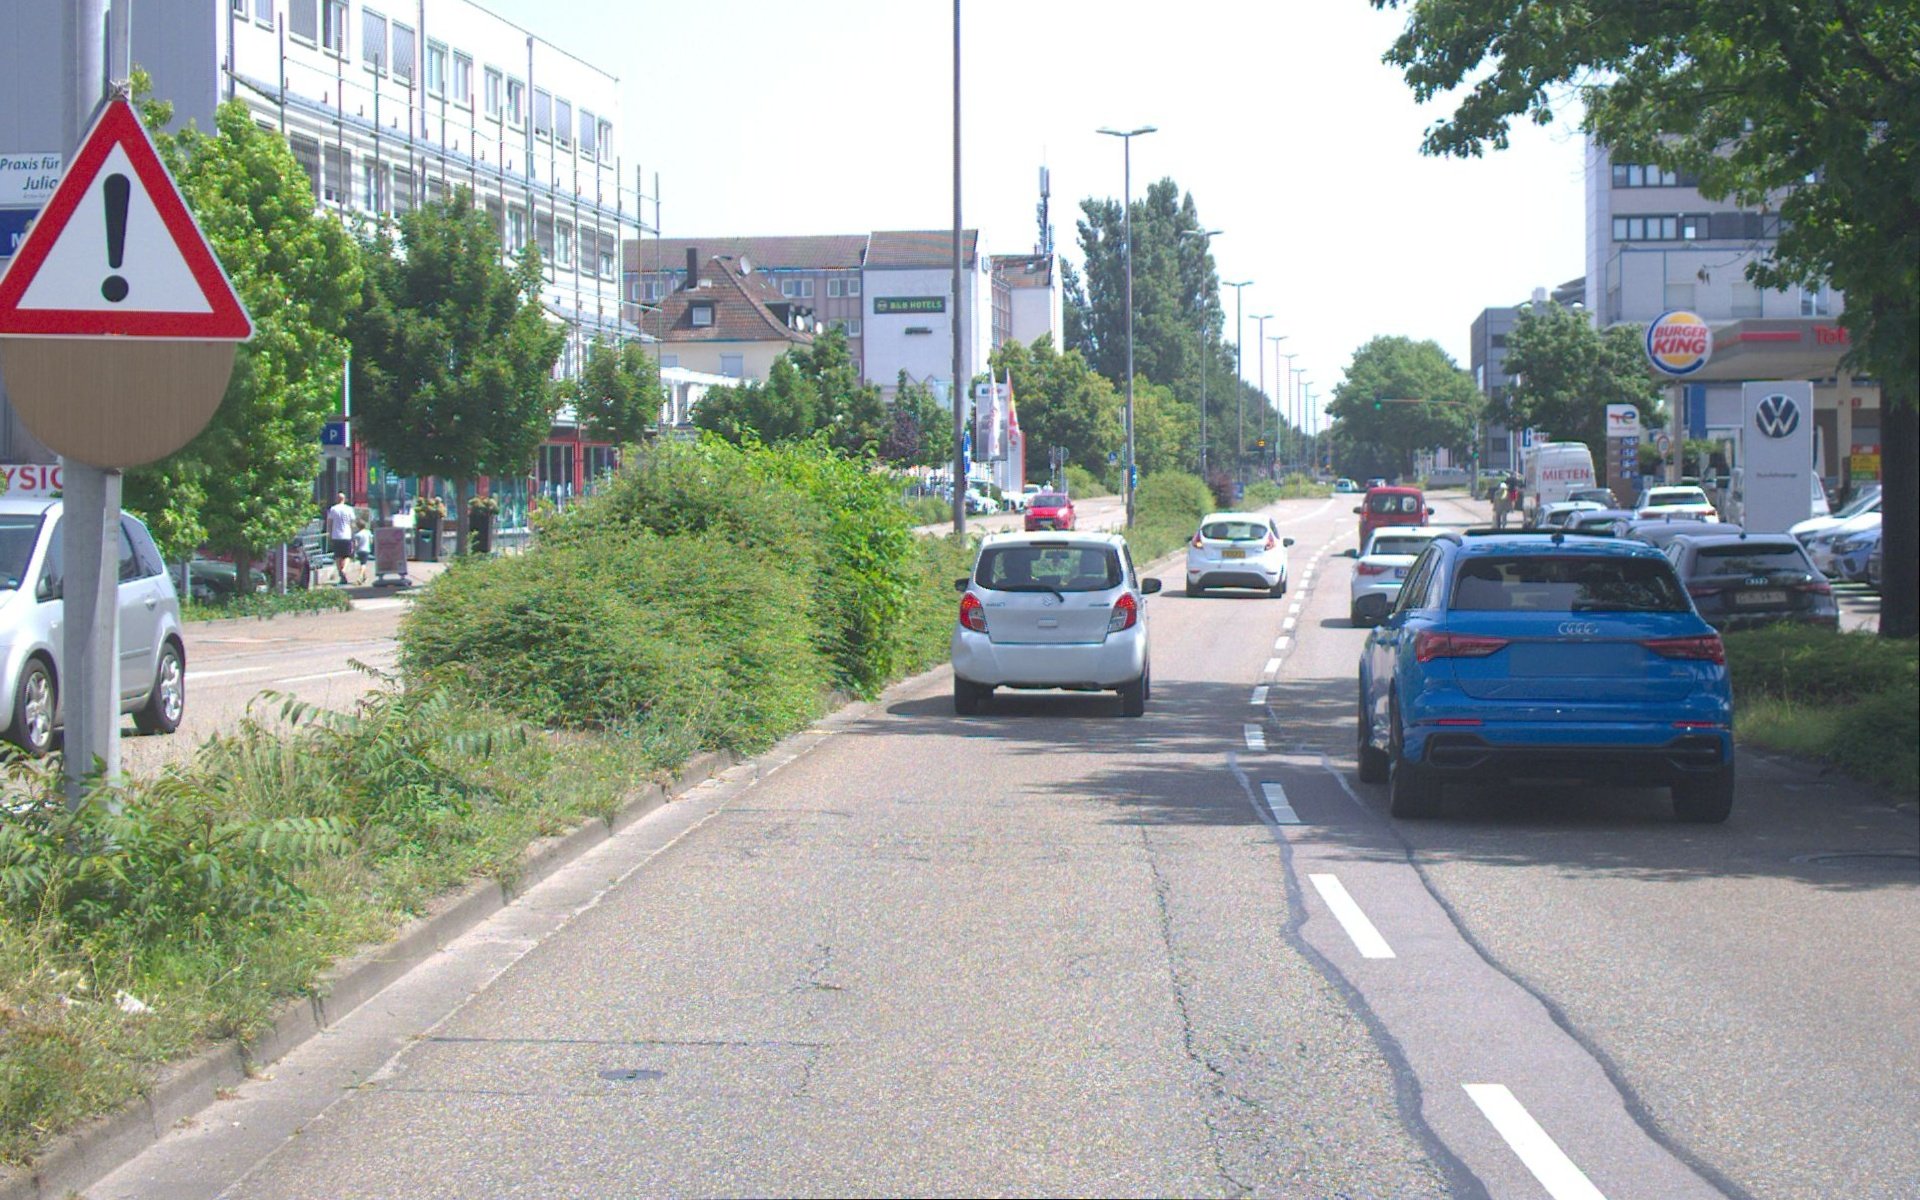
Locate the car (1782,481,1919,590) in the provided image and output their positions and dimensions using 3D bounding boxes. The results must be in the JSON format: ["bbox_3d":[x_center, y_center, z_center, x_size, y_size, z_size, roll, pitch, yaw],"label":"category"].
[{"bbox_3d":[17.414,-1.197,62.437,4.556,1.882,1.857,-2,0,5],"label":"car"}]

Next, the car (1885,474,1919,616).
[{"bbox_3d":[16.457,-0.746,49.326,5.895,2.007,2.258,1,1,8],"label":"car"}]

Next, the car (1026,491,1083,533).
[{"bbox_3d":[3.404,-3.155,123.461,1.631,1.419,3.449,-3,1,8],"label":"car"}]

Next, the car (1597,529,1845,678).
[{"bbox_3d":[7.980,-0.010,36.397,1.682,1.430,4.439,-1,1,1],"label":"car"}]

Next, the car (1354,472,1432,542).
[{"bbox_3d":[11.186,-2.388,89.071,1.795,1.723,3.972,1,1,5],"label":"car"}]

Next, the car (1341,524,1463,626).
[{"bbox_3d":[6.343,-0.367,49.571,1.667,1.394,3.792,1,1,7],"label":"car"}]

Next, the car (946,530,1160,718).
[{"bbox_3d":[0.783,0.194,29.662,1.712,1.505,3.247,1,0,1],"label":"car"}]

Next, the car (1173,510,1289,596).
[{"bbox_3d":[4.762,-0.835,60.937,1.830,1.445,4.000,1,1,2],"label":"car"}]

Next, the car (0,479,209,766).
[{"bbox_3d":[-6.211,0.105,21.674,1.780,1.623,4.339,-1,1,3],"label":"car"}]

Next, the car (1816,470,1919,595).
[{"bbox_3d":[16.848,-1.193,57.459,4.641,2.006,1.960,-2,2,5],"label":"car"}]

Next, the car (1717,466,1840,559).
[{"bbox_3d":[18.598,-1.991,78.299,1.994,2.016,5.160,1,2,6],"label":"car"}]

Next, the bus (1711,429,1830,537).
[{"bbox_3d":[24.495,-3.643,104.330,2.806,3.068,12.281,1,3,10],"label":"bus"}]

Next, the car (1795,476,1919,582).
[{"bbox_3d":[16.902,-1.256,60.237,4.151,1.775,1.881,-1,0,6],"label":"car"}]

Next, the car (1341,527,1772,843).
[{"bbox_3d":[3.335,0.394,20.046,1.913,1.591,4.395,1,2,3],"label":"car"}]

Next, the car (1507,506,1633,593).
[{"bbox_3d":[11.602,-0.987,65.623,1.732,1.547,4.180,0,2,1],"label":"car"}]

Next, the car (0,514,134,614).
[{"bbox_3d":[-14.151,-0.484,49.052,4.149,1.337,2.043,-2,2,4],"label":"car"}]

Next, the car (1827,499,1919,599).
[{"bbox_3d":[15.761,-0.811,54.897,3.632,1.565,1.715,1,2,12],"label":"car"}]

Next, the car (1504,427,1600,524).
[{"bbox_3d":[18.952,-3.982,110.284,2.133,2.829,7.308,-5,1,5],"label":"car"}]

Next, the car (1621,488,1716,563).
[{"bbox_3d":[16.179,-1.734,78.662,1.667,1.590,4.612,-1,2,6],"label":"car"}]

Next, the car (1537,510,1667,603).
[{"bbox_3d":[11.205,-0.788,60.261,1.713,1.543,4.790,-1,1,4],"label":"car"}]
